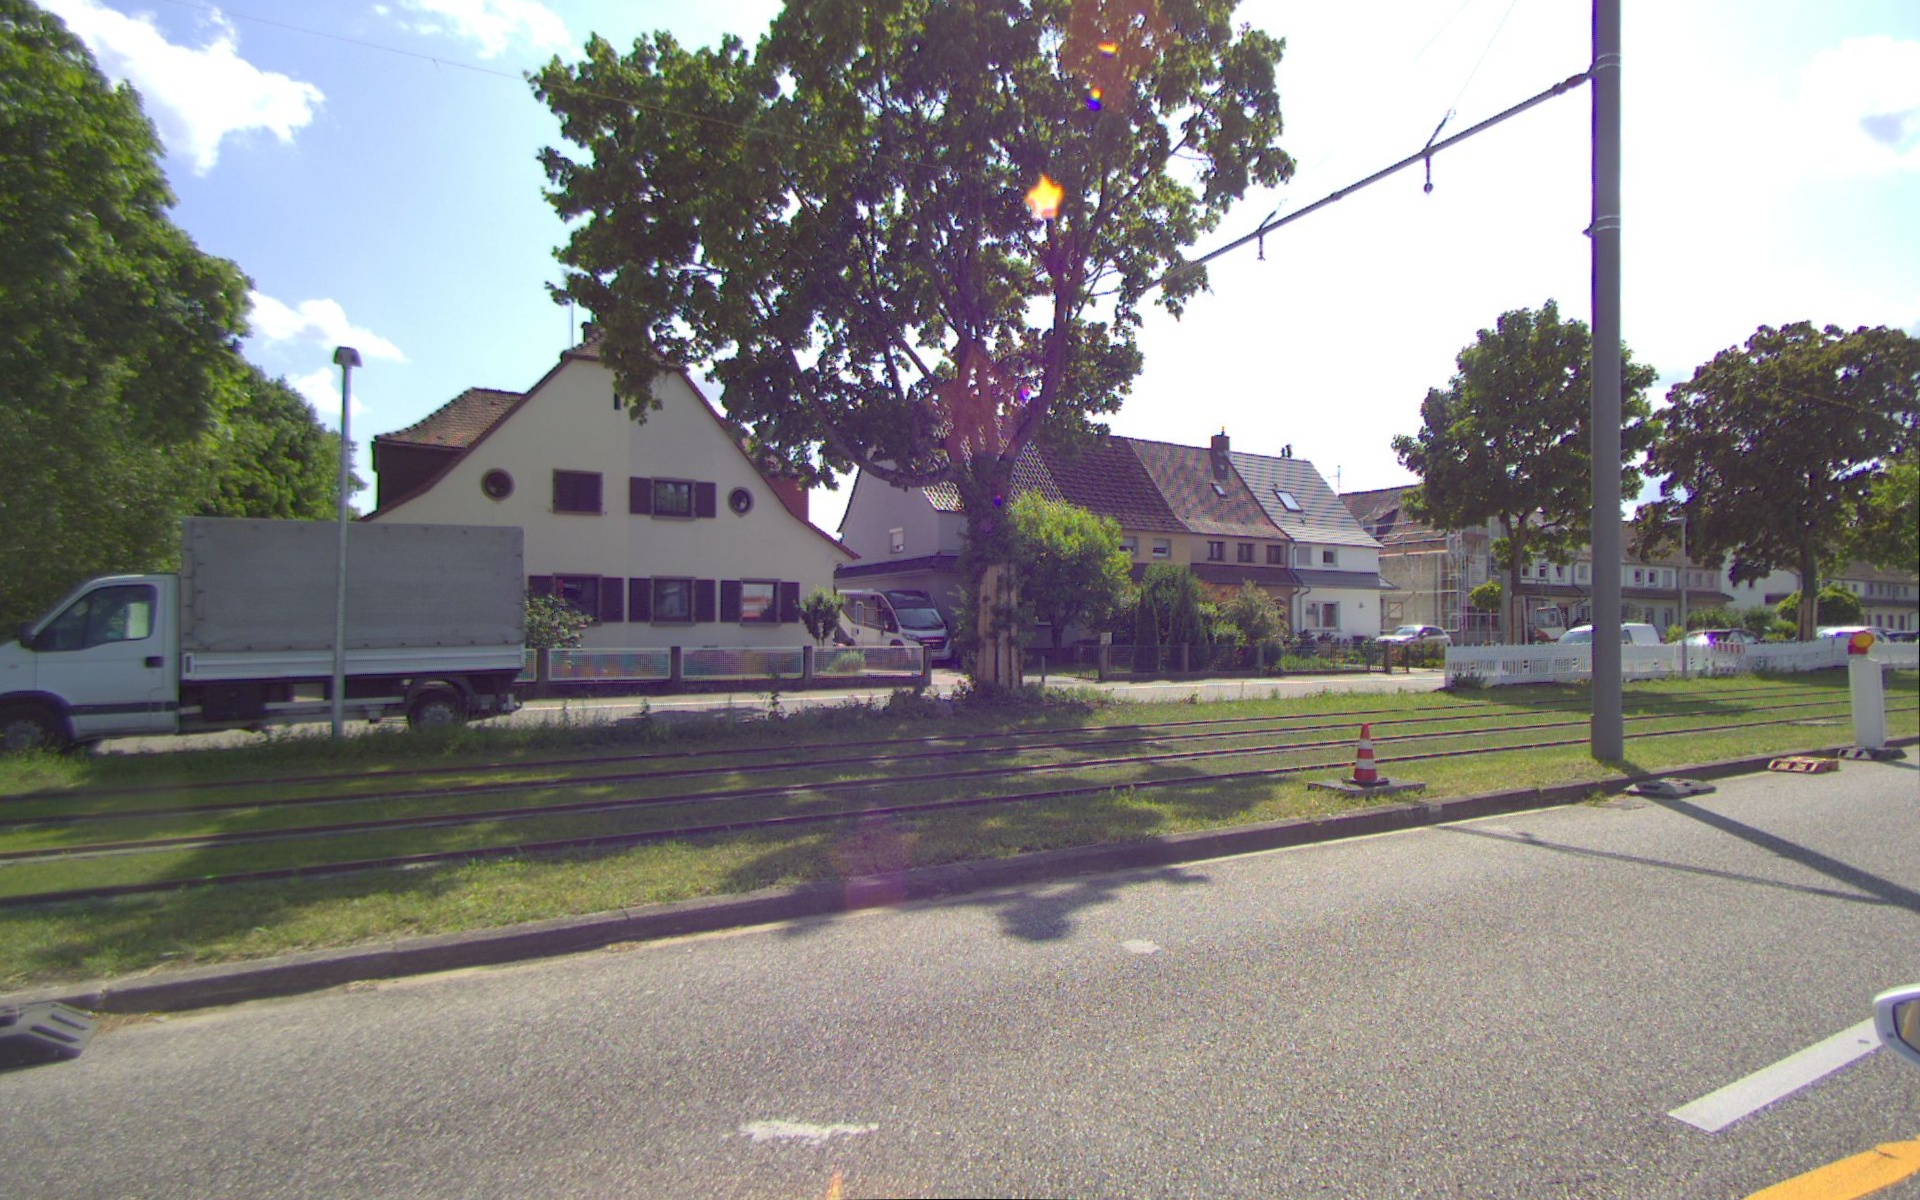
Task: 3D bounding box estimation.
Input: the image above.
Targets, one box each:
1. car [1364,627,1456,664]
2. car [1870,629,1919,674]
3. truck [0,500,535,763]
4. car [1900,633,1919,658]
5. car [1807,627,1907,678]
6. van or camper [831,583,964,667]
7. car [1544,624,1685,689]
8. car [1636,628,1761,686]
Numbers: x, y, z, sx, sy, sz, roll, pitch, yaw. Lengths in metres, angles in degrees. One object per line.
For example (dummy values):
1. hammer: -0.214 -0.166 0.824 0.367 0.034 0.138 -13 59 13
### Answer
1. car: 19.974 1.989 44.540 3.952 1.539 1.768 1 -2 -30
2. car: 40.709 2.164 42.730 4.079 1.829 1.768 1 -2 -30
3. truck: -8.826 0.400 12.971 5.906 2.817 2.255 1 -2 -31
4. car: 70.039 3.304 72.748 4.079 1.745 1.768 1 -2 -30
5. car: 35.436 2.030 39.679 4.079 1.892 1.768 1 -2 -30
6. van or camper: -2.403 0.933 36.601 2.269 2.801 6.051 1 -2 -32
7. car: 19.583 1.641 30.018 4.312 1.845 1.768 1 -2 -30
8. car: 24.271 1.822 32.986 4.177 1.797 1.768 1 -2 -30
